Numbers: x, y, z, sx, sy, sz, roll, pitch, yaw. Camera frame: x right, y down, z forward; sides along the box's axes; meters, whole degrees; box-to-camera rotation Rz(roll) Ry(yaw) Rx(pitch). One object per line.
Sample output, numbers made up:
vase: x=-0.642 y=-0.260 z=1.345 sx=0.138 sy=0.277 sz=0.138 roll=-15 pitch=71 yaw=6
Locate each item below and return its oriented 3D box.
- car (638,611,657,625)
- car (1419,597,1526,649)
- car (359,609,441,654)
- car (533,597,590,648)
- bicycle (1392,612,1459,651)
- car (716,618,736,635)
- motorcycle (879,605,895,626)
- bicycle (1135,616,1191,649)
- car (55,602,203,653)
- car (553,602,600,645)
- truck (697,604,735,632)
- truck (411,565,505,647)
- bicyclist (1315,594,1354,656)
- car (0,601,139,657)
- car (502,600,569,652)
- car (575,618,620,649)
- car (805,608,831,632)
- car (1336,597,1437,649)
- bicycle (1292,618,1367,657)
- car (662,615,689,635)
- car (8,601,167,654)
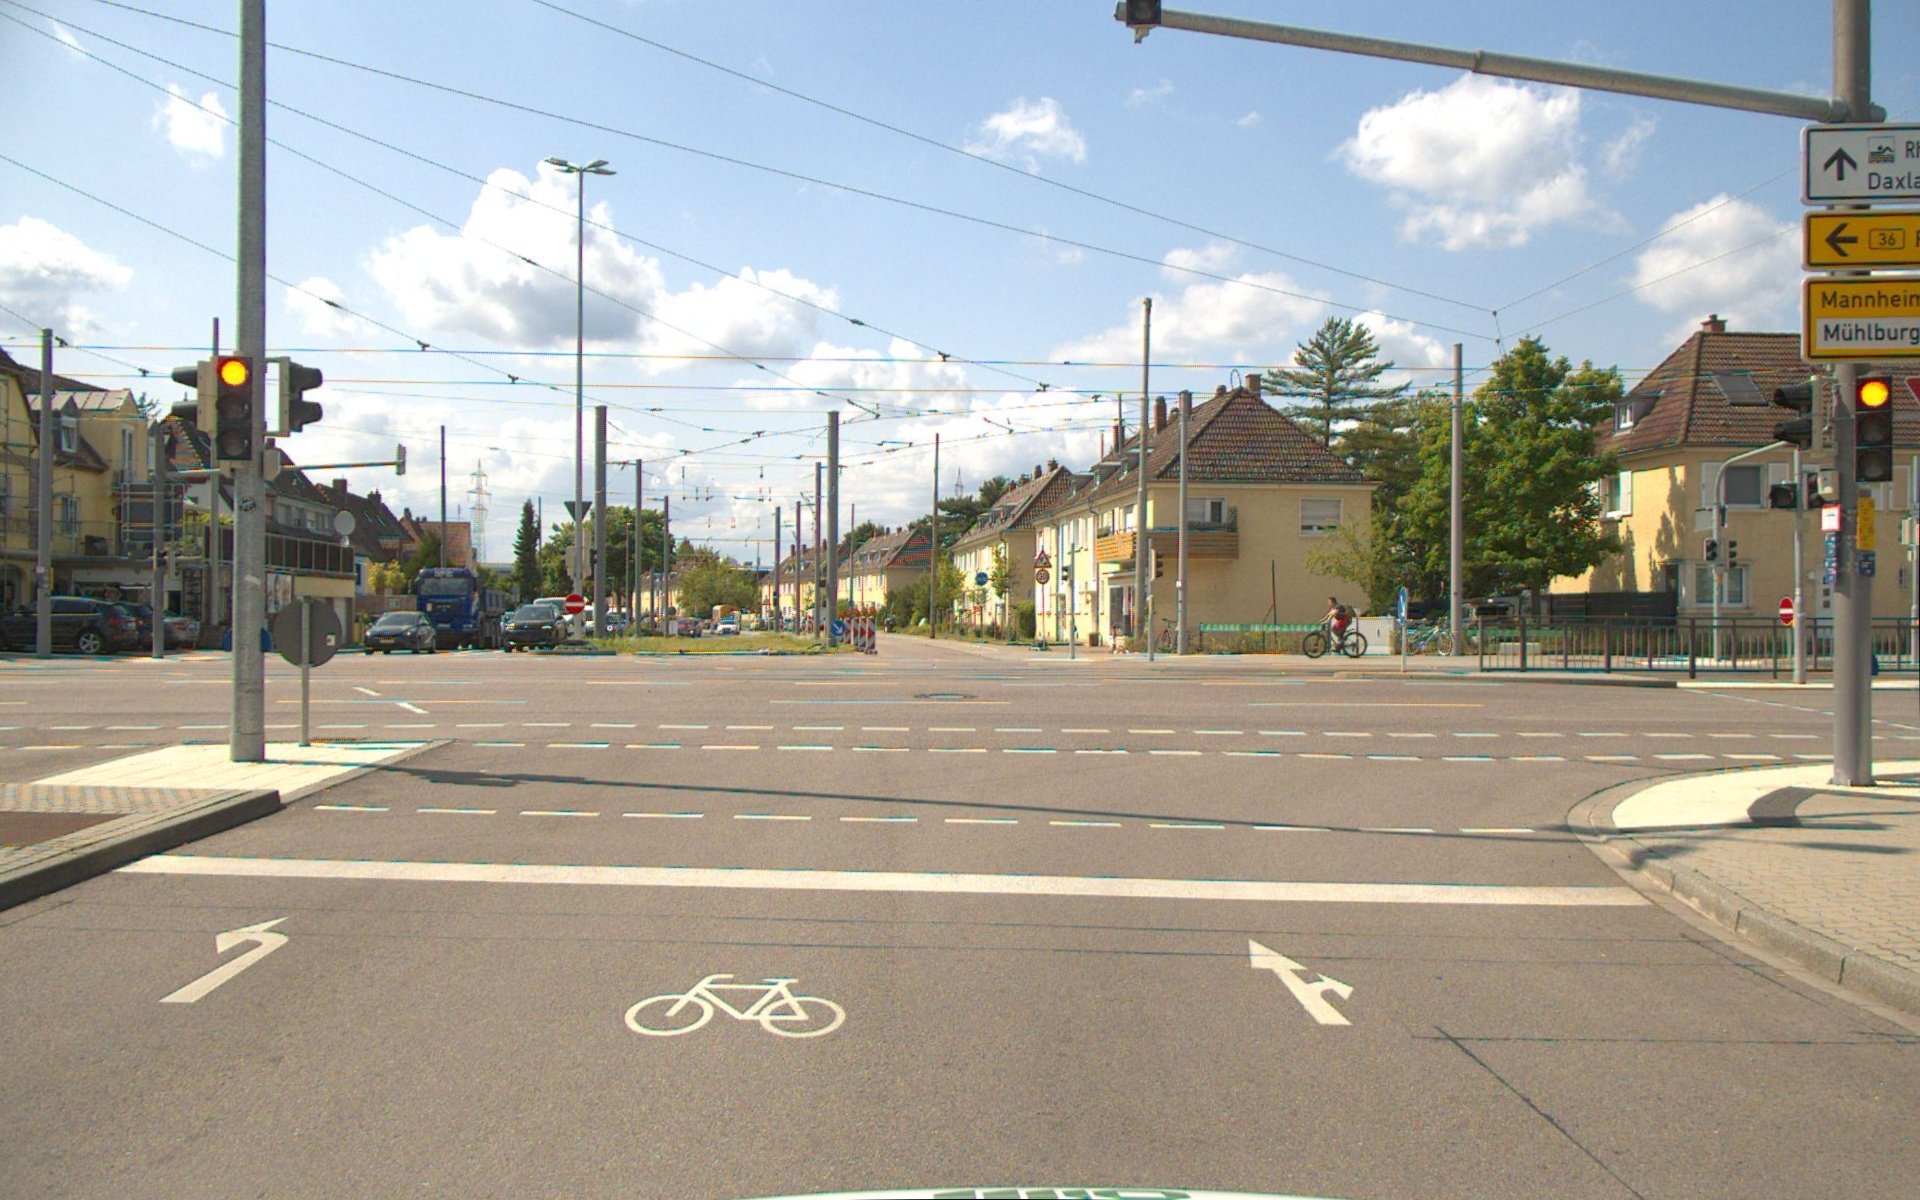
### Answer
car: x=-45.863 y=2.603 z=242.718 sx=1.966 sy=1.944 sz=3.973 roll=0 pitch=0 yaw=-22
car: x=17.055 y=0.794 z=55.265 sx=1.789 sy=1.649 sz=3.990 roll=0 pitch=-2 yaw=-10
car: x=-19.495 y=1.086 z=57.752 sx=1.792 sy=1.513 sz=4.328 roll=0 pitch=-1 yaw=-6
car: x=-15.793 y=0.897 z=65.705 sx=1.780 sy=1.955 sz=4.738 roll=0 pitch=-1 yaw=-9
bicycle: x=13.700 y=0.927 z=48.647 sx=1.773 sy=1.124 sz=0.699 roll=0 pitch=-1 yaw=39
car: x=-21.951 y=2.496 z=155.432 sx=1.808 sy=1.589 sz=4.180 roll=0 pitch=-1 yaw=-7
motorcycle: x=-5.798 y=1.210 z=131.932 sx=1.046 sy=1.664 sz=2.079 roll=0 pitch=-1 yaw=-9
bicycle: x=6.822 y=1.093 z=55.716 sx=0.588 sy=1.116 sz=2.250 roll=1 pitch=-1 yaw=-33
car: x=-27.372 y=0.900 z=54.565 sx=4.058 sy=1.519 sz=1.432 roll=2 pitch=-1 yaw=-9
car: x=-17.021 y=1.035 z=73.556 sx=1.700 sy=1.813 sz=4.396 roll=0 pitch=-1 yaw=-9
truck: x=-32.030 y=2.349 z=216.993 sx=2.606 sy=3.555 sz=9.366 roll=0 pitch=-1 yaw=-24
truck: x=-20.927 y=0.302 z=69.338 sx=2.717 sy=3.244 sz=7.567 roll=0 pitch=-1 yaw=-9
bicyclist: x=10.892 y=0.721 z=48.111 sx=0.938 sy=1.806 sz=0.719 roll=0 pitch=-1 yaw=-6
car: x=-26.819 y=0.854 z=49.186 sx=4.058 sy=1.519 sz=1.177 roll=2 pitch=-1 yaw=-9
car: x=-15.173 y=0.897 z=59.299 sx=1.752 sy=1.751 sz=4.434 roll=0 pitch=0 yaw=-7
car: x=-17.627 y=1.607 z=80.486 sx=1.879 sy=1.444 sz=3.992 roll=0 pitch=-1 yaw=-9
car: x=-13.454 y=1.878 z=157.027 sx=2.028 sy=2.187 sz=4.866 roll=0 pitch=-1 yaw=-10
car: x=14.294 y=0.794 z=55.587 sx=1.789 sy=1.649 sz=3.990 roll=0 pitch=-2 yaw=-10
bicycle: x=10.708 y=1.074 z=47.953 sx=1.988 sy=1.121 sz=0.714 roll=0 pitch=-1 yaw=-6
car: x=-22.069 y=1.936 z=128.403 sx=1.808 sy=1.520 sz=4.848 roll=0 pitch=-1 yaw=-7
car: x=-27.300 y=0.854 z=51.855 sx=4.058 sy=1.519 sz=1.504 roll=2 pitch=-1 yaw=-9
